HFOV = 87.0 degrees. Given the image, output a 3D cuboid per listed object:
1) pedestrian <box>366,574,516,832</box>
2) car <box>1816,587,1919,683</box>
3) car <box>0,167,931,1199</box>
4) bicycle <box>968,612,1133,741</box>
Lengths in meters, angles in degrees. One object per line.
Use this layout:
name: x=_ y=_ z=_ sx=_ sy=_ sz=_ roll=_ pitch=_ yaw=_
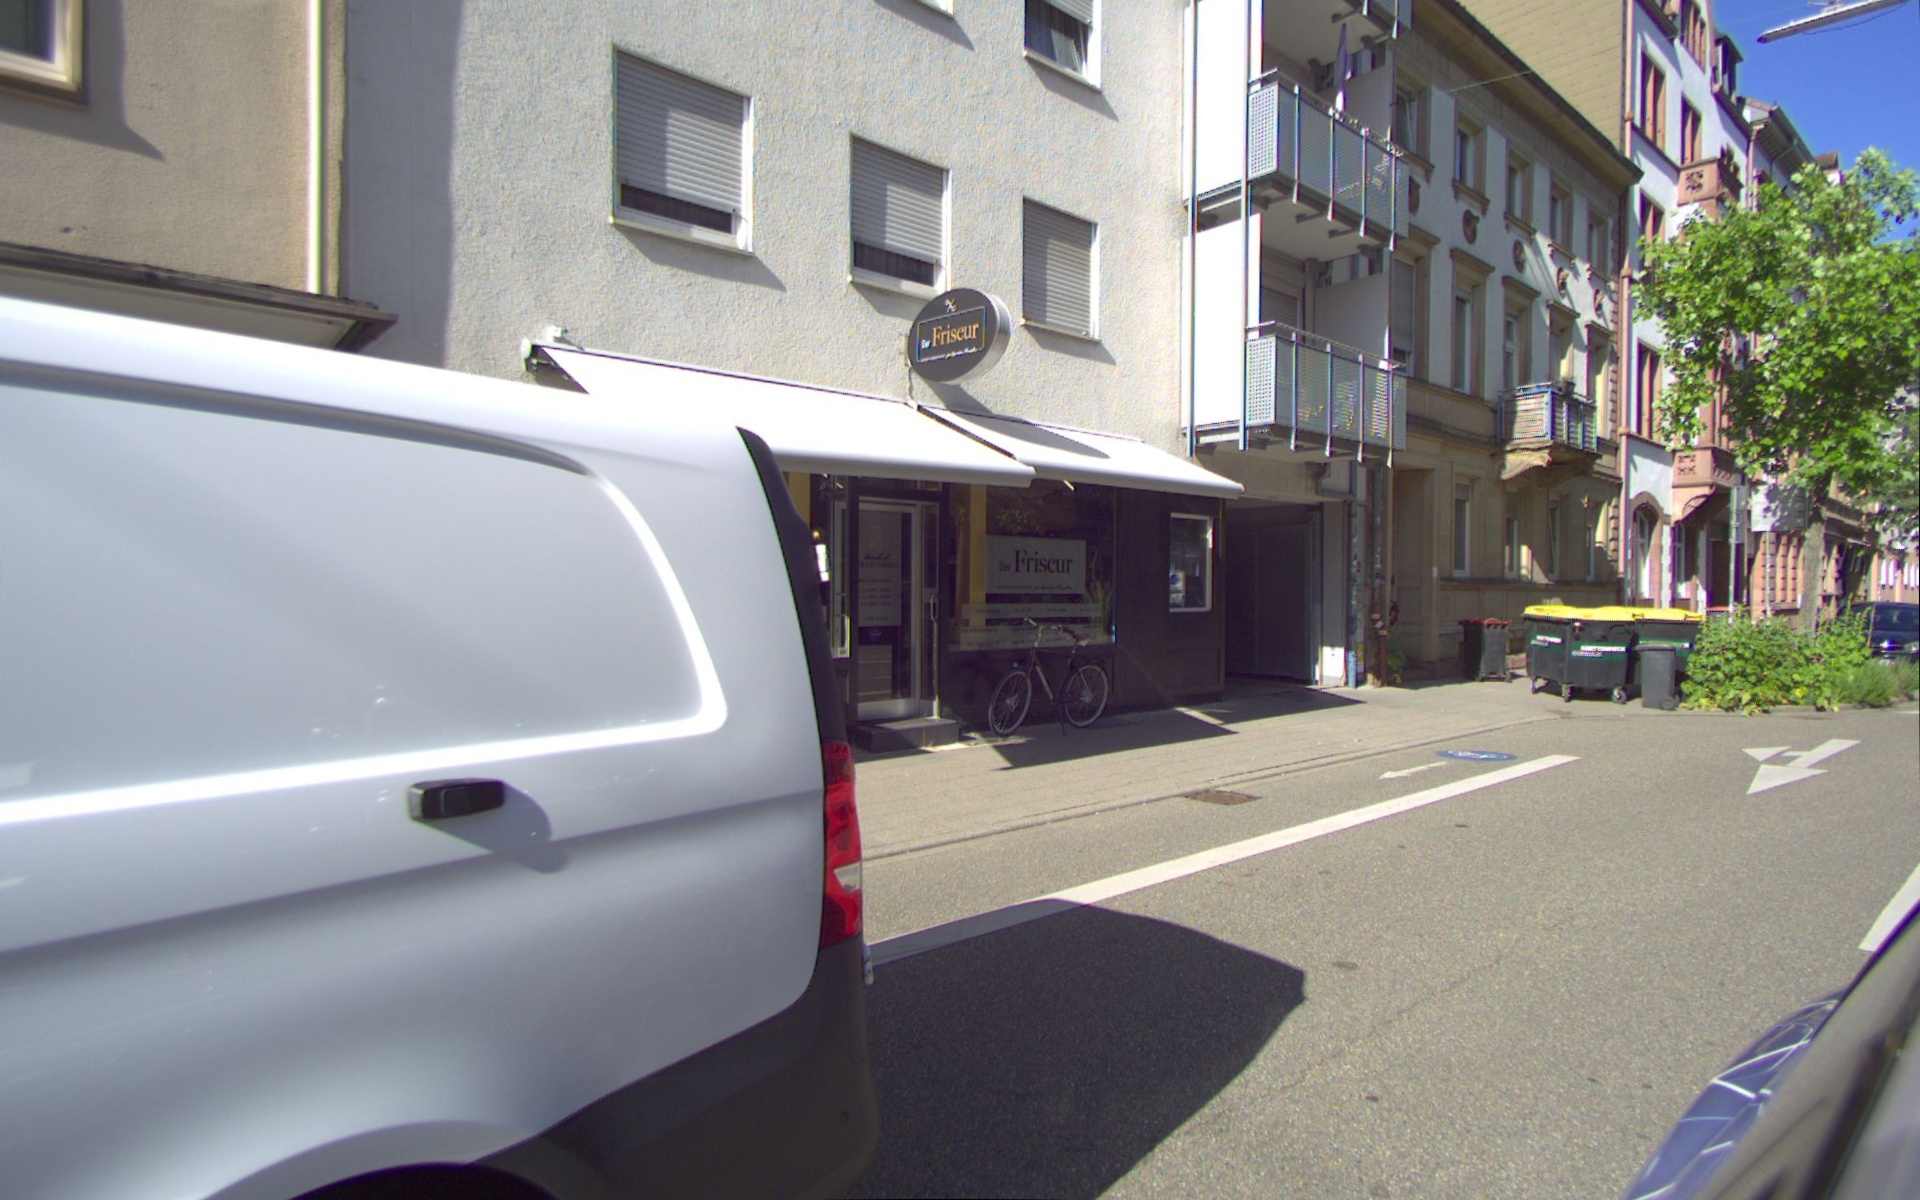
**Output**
pedestrian: x=-3.198 y=0.583 z=6.226 sx=0.773 sy=1.460 sz=0.615 roll=-1 pitch=-1 yaw=45
car: x=17.070 y=0.575 z=18.522 sx=3.485 sy=1.616 sz=1.626 roll=0 pitch=1 yaw=-41
car: x=-2.463 y=0.484 z=0.981 sx=4.750 sy=1.833 sz=1.971 roll=-1 pitch=1 yaw=-42
bicycle: x=0.950 y=0.733 z=10.325 sx=1.743 sy=1.157 sz=0.598 roll=0 pitch=3 yaw=-41
